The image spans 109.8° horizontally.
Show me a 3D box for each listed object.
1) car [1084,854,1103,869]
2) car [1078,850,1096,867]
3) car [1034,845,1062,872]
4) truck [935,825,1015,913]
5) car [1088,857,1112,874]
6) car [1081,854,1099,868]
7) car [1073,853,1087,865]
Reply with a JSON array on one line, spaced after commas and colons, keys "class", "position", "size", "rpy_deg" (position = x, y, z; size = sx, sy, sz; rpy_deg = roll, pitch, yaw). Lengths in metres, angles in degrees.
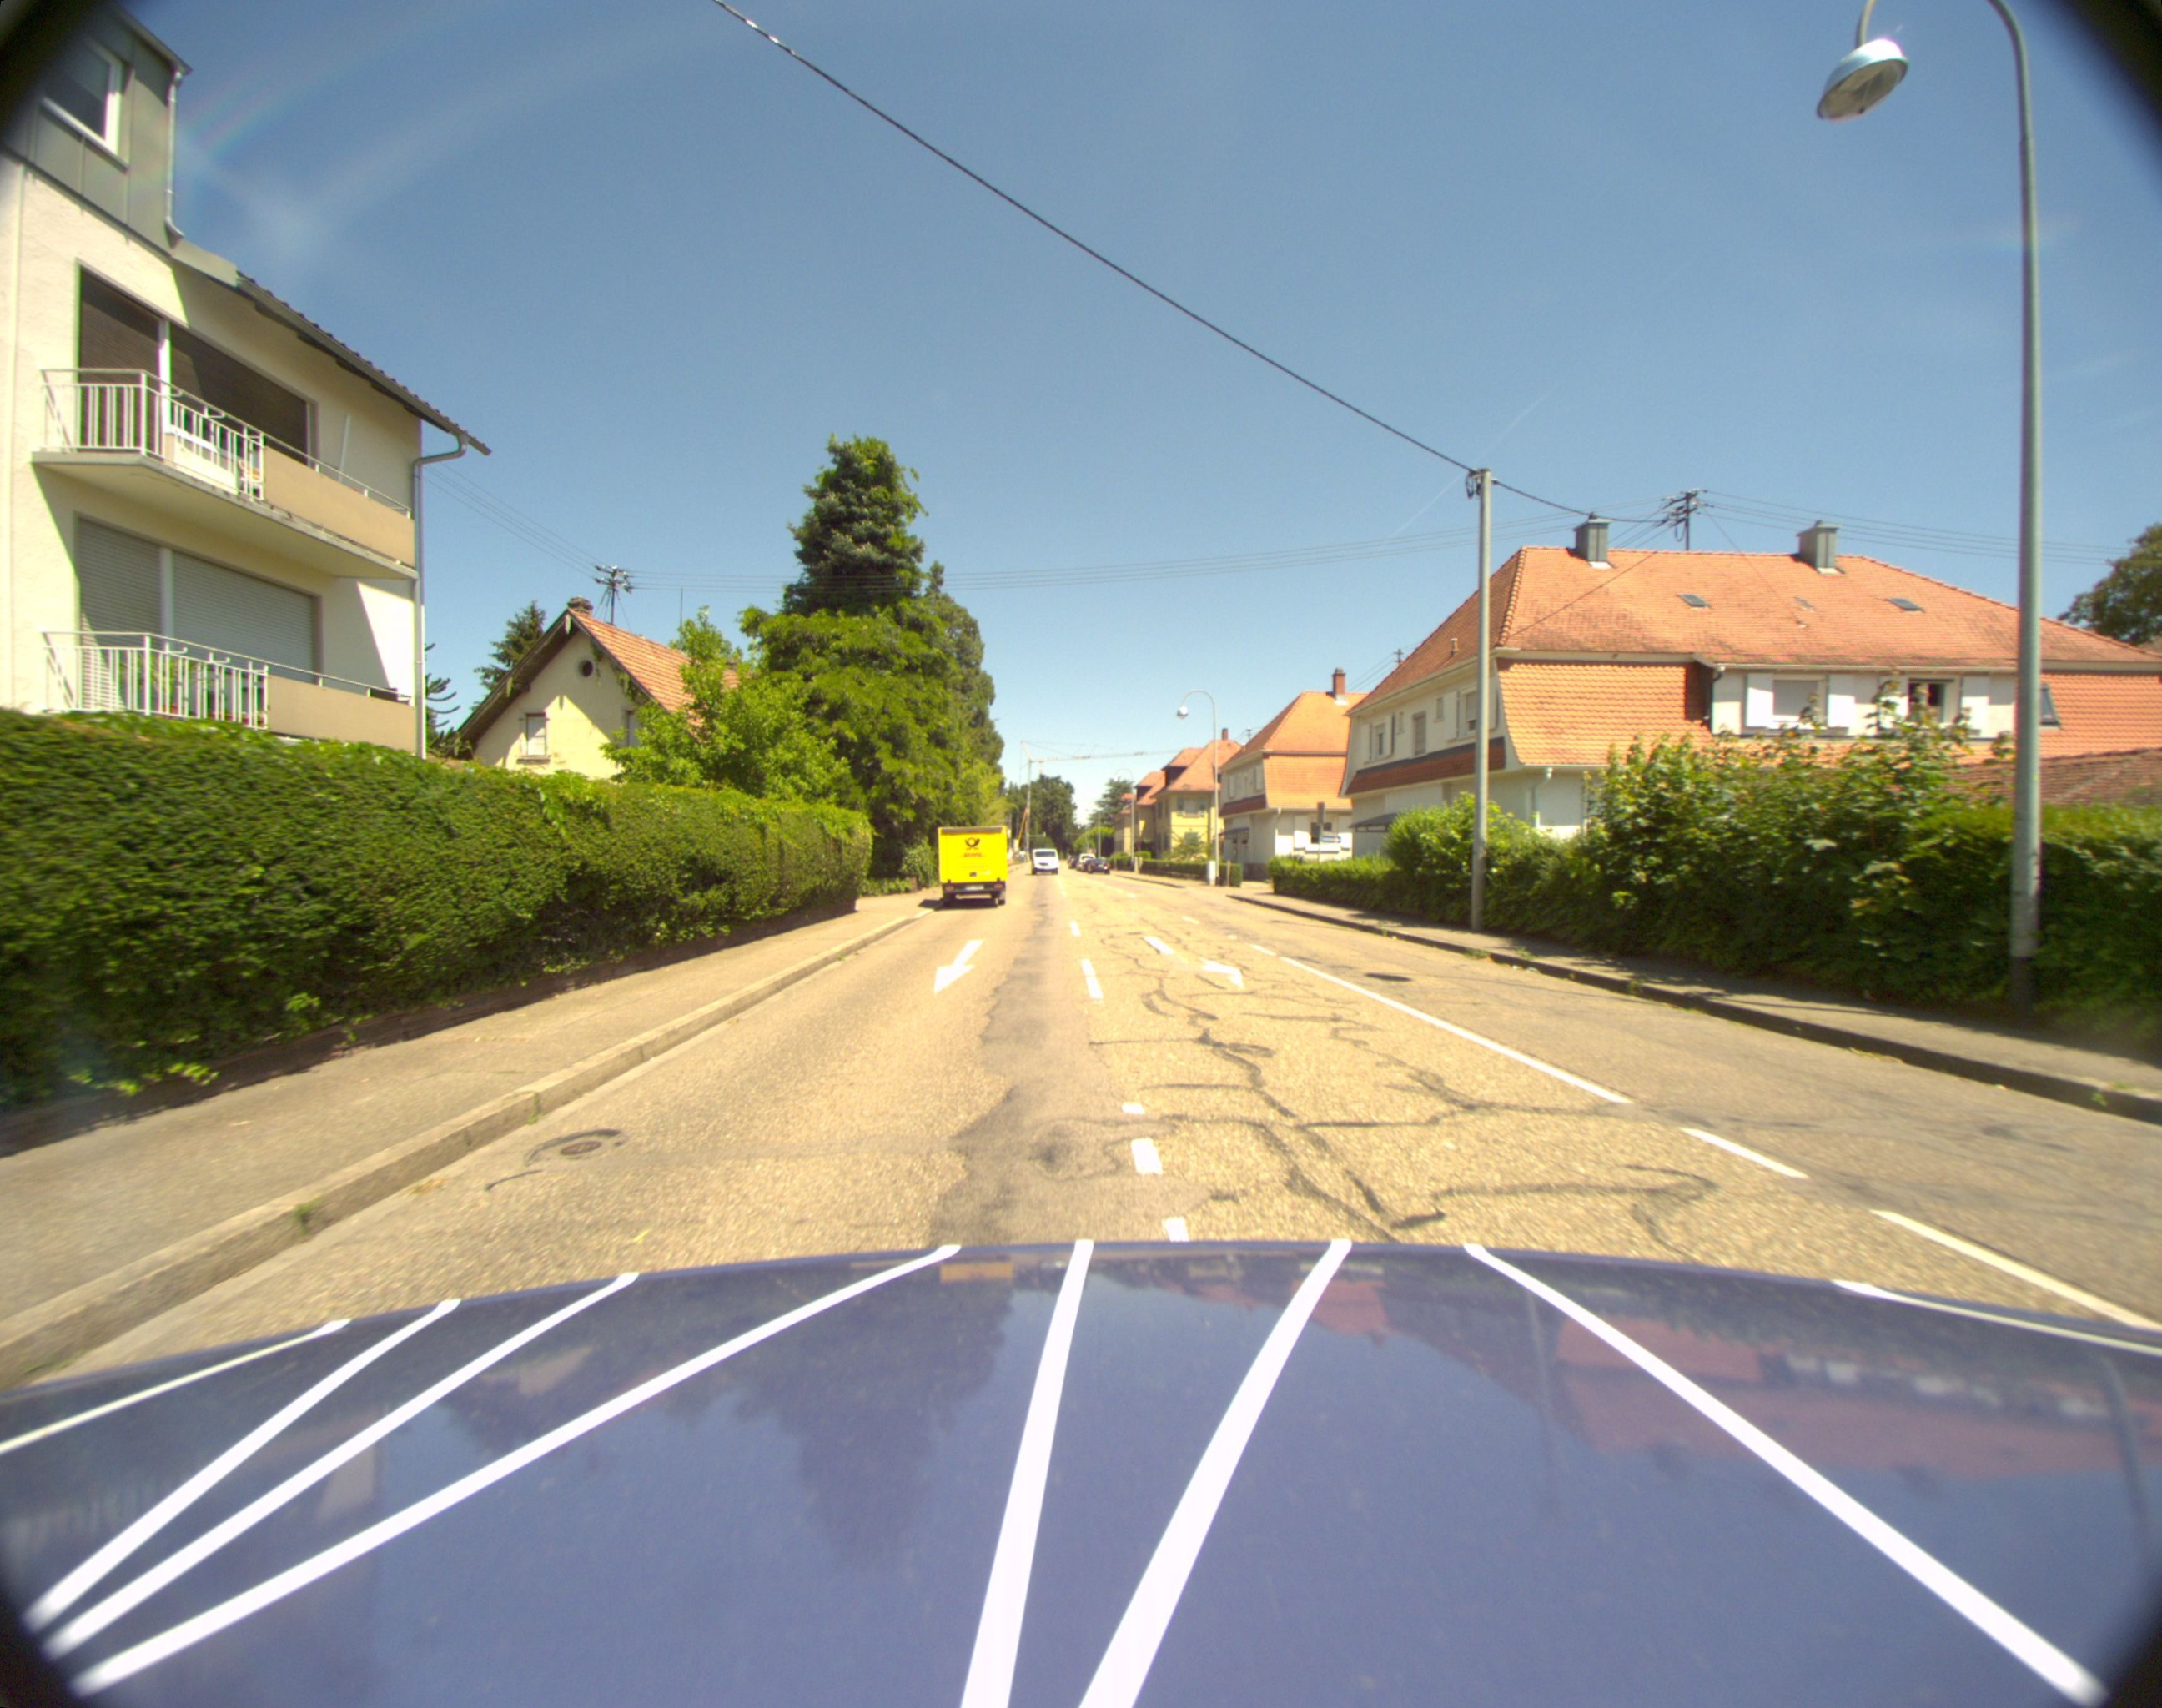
[{"class": "car", "position": [1.185, 0.768, 75.876], "size": [1.754, 1.390, 4.000], "rpy_deg": [1, 0, -1]}, {"class": "car", "position": [0.655, 0.502, 85.932], "size": [1.754, 1.885, 3.999], "rpy_deg": [1, 0, -3]}, {"class": "car", "position": [-2.563, 0.325, 59.235], "size": [1.999, 2.002, 4.385], "rpy_deg": [-1, 0, -2]}, {"class": "truck", "position": [-3.296, 0.394, 23.559], "size": [2.020, 2.295, 6.171], "rpy_deg": [-3, 1, -8]}, {"class": "car", "position": [1.634, 0.983, 66.504], "size": [1.754, 1.390, 3.999], "rpy_deg": [2, 0, -3]}, {"class": "car", "position": [0.965, 0.771, 81.154], "size": [1.754, 1.427, 3.999], "rpy_deg": [1, 0, -2]}, {"class": "car", "position": [-0.120, 0.692, 106.502], "size": [1.998, 1.674, 4.000], "rpy_deg": [-1, 0, 0]}]
